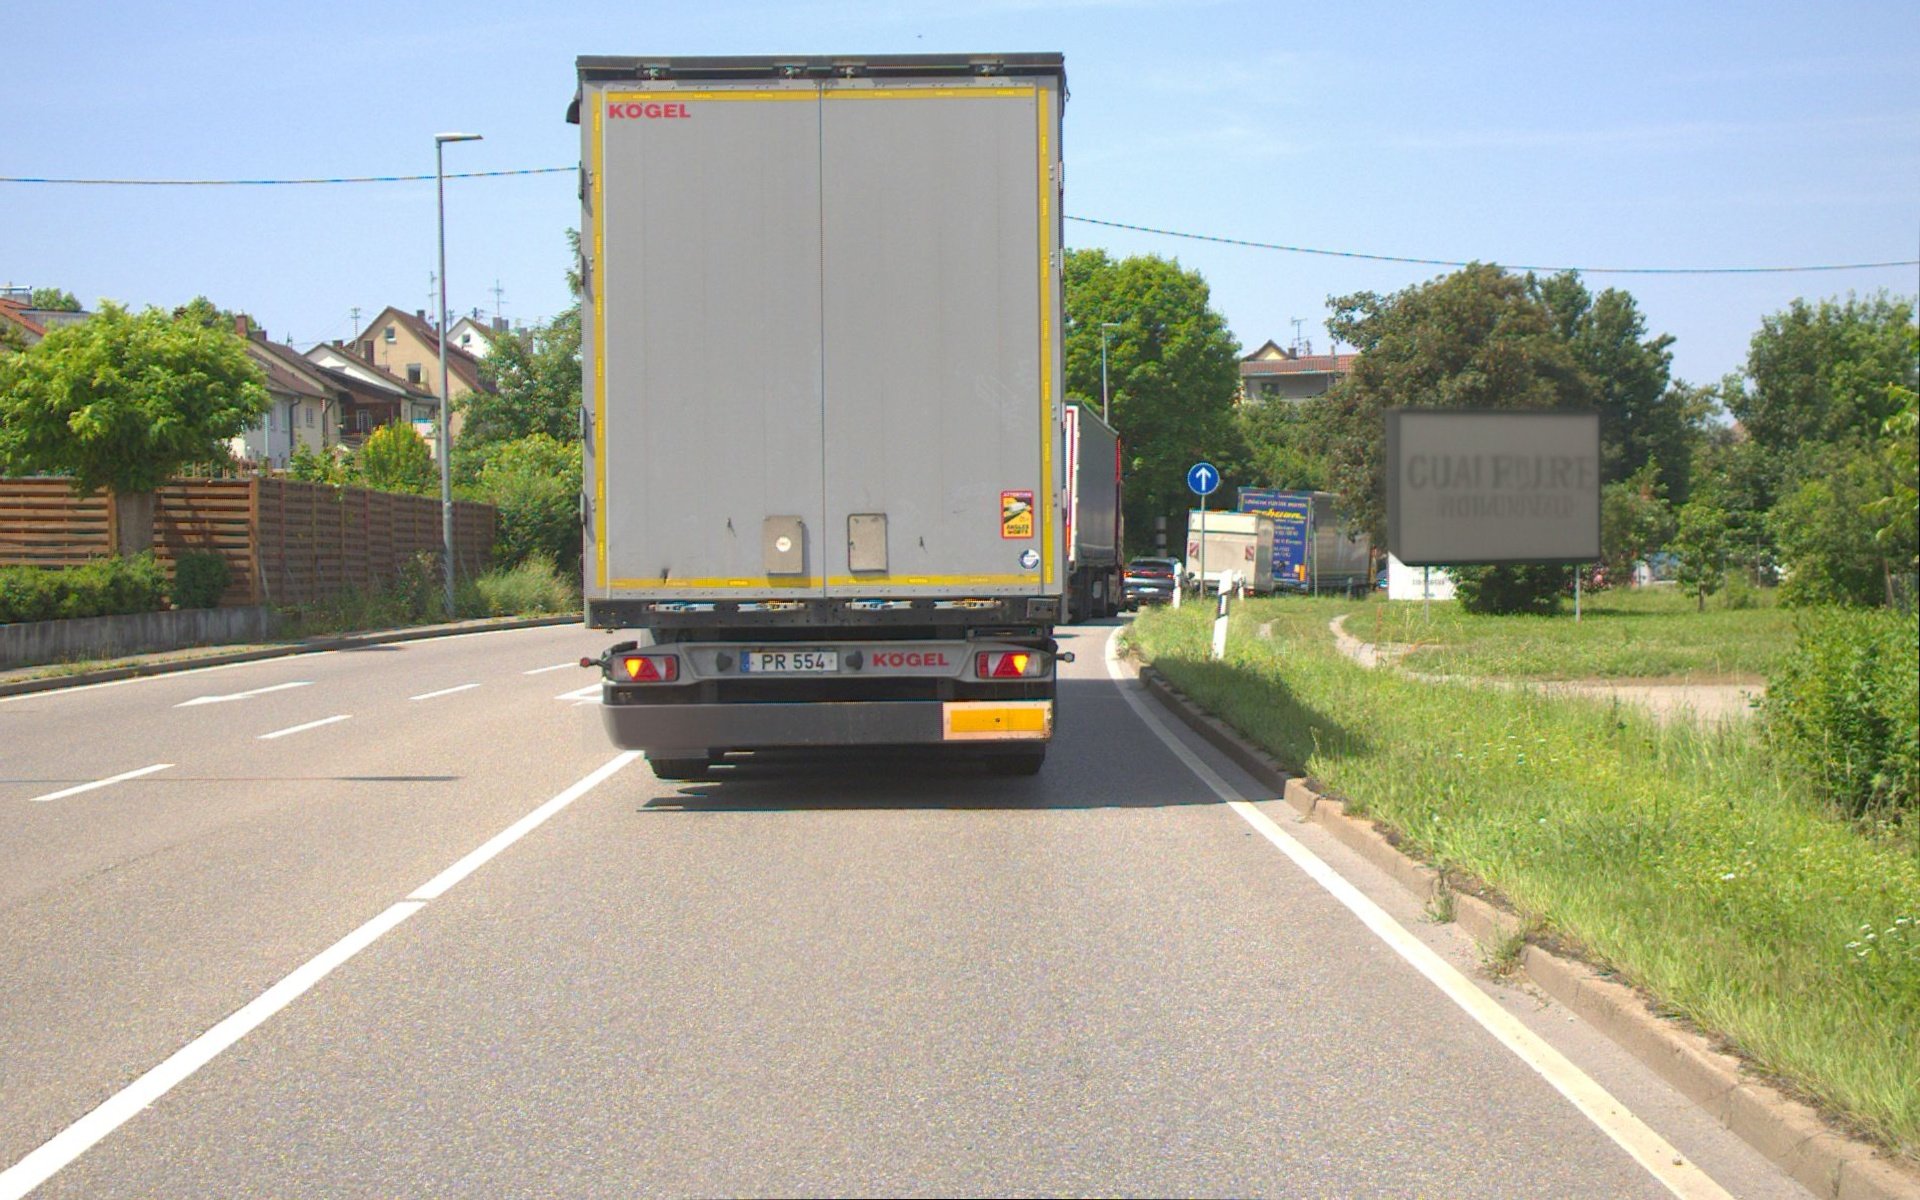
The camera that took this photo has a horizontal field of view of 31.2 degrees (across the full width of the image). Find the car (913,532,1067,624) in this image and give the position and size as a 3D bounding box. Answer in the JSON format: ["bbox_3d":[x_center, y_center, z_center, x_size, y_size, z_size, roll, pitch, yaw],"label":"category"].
[{"bbox_3d":[0.505,-0.328,52.818,1.819,1.342,3.846,1,0,9],"label":"car"}]

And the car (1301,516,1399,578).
[{"bbox_3d":[14.792,-2.002,130.042,2.534,2.269,6.376,1,1,17],"label":"car"}]

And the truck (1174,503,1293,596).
[{"bbox_3d":[8.553,-1.522,106.982,2.545,2.793,6.027,1,0,16],"label":"truck"}]

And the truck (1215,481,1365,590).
[{"bbox_3d":[11.498,-2.256,118.823,3.435,3.592,9.346,1,1,17],"label":"truck"}]

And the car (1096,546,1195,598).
[{"bbox_3d":[5.071,-0.747,93.564,1.995,1.371,3.998,1,0,13],"label":"car"}]

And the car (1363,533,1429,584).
[{"bbox_3d":[17.701,-1.665,139.356,1.995,2.007,3.997,1,0,17],"label":"car"}]

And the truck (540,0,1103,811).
[{"bbox_3d":[-0.704,-1.086,23.251,2.822,4.113,11.444,1,1,0],"label":"truck"}]

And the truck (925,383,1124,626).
[{"bbox_3d":[1.531,-1.720,69.112,2.761,4.274,16.412,1,0,5],"label":"truck"}]
